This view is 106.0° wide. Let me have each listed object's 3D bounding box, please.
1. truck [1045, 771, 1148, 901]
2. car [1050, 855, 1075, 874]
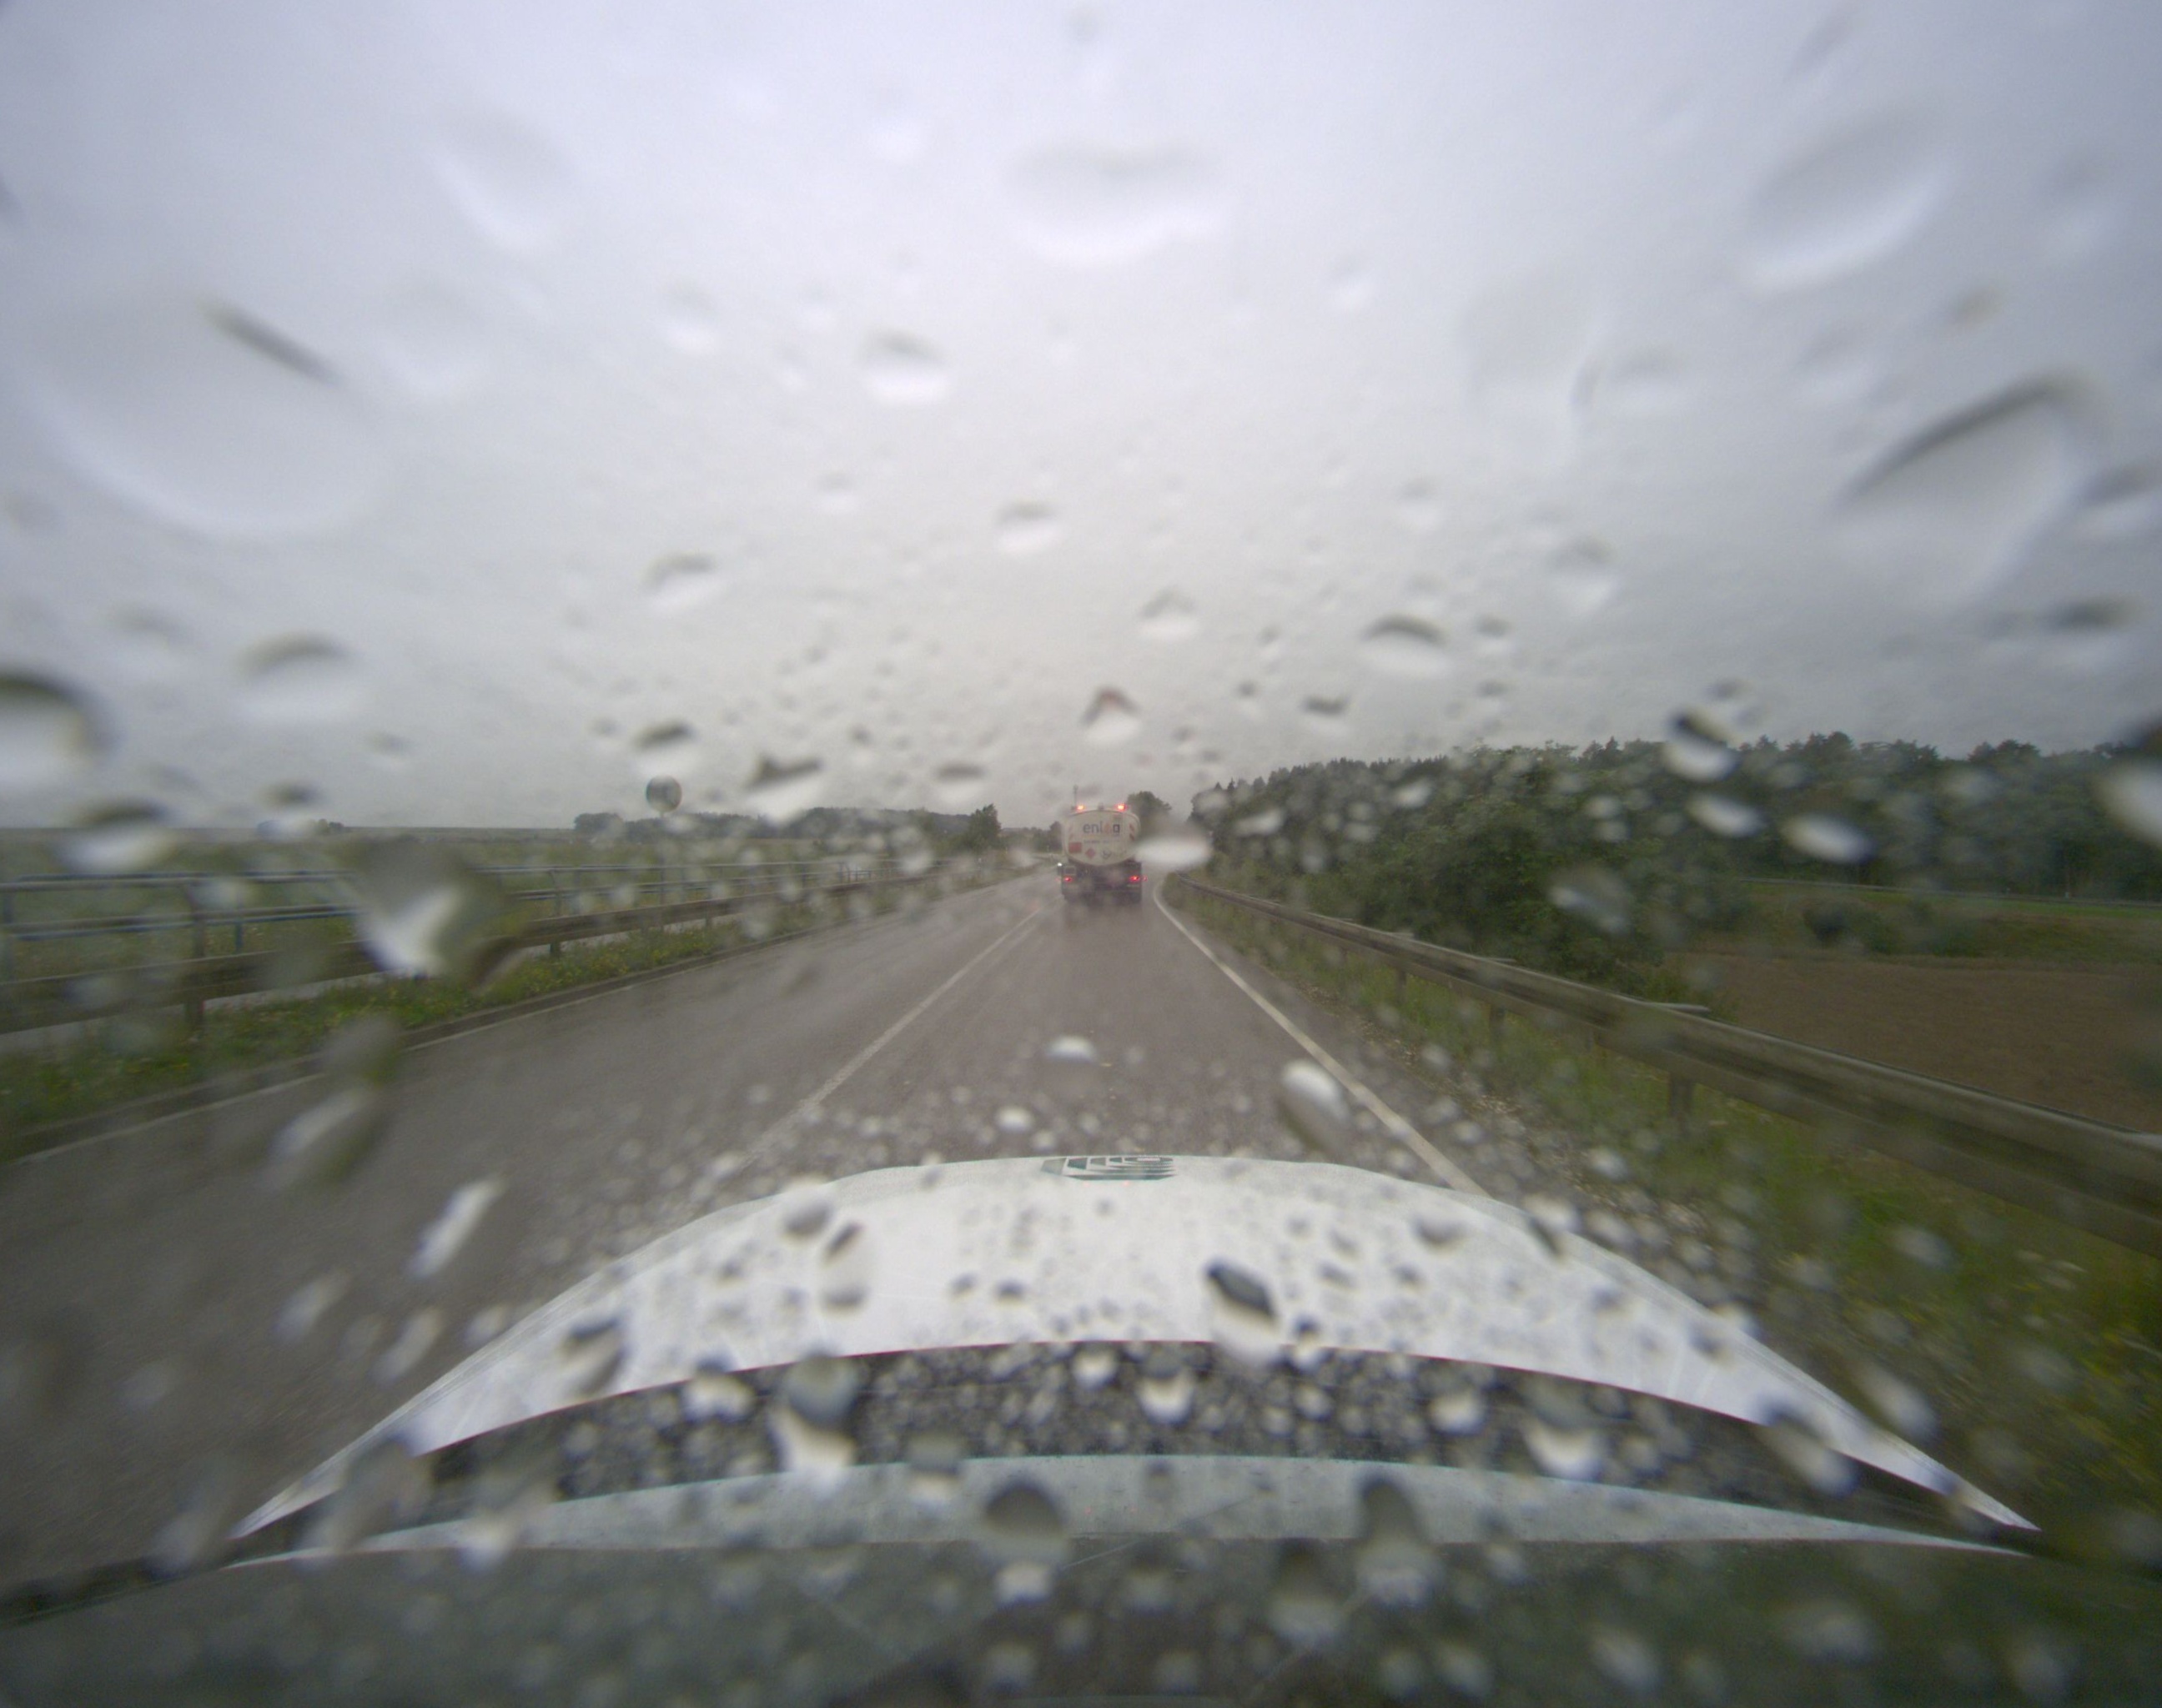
[{"bbox_3d":[0.690,-0.588,28.791,3.027,3.851,8.829,-1,0,3],"label":"truck"},{"bbox_3d":[-1.455,0.816,65.490,1.773,1.526,4.171,0,0,2],"label":"car"}]
